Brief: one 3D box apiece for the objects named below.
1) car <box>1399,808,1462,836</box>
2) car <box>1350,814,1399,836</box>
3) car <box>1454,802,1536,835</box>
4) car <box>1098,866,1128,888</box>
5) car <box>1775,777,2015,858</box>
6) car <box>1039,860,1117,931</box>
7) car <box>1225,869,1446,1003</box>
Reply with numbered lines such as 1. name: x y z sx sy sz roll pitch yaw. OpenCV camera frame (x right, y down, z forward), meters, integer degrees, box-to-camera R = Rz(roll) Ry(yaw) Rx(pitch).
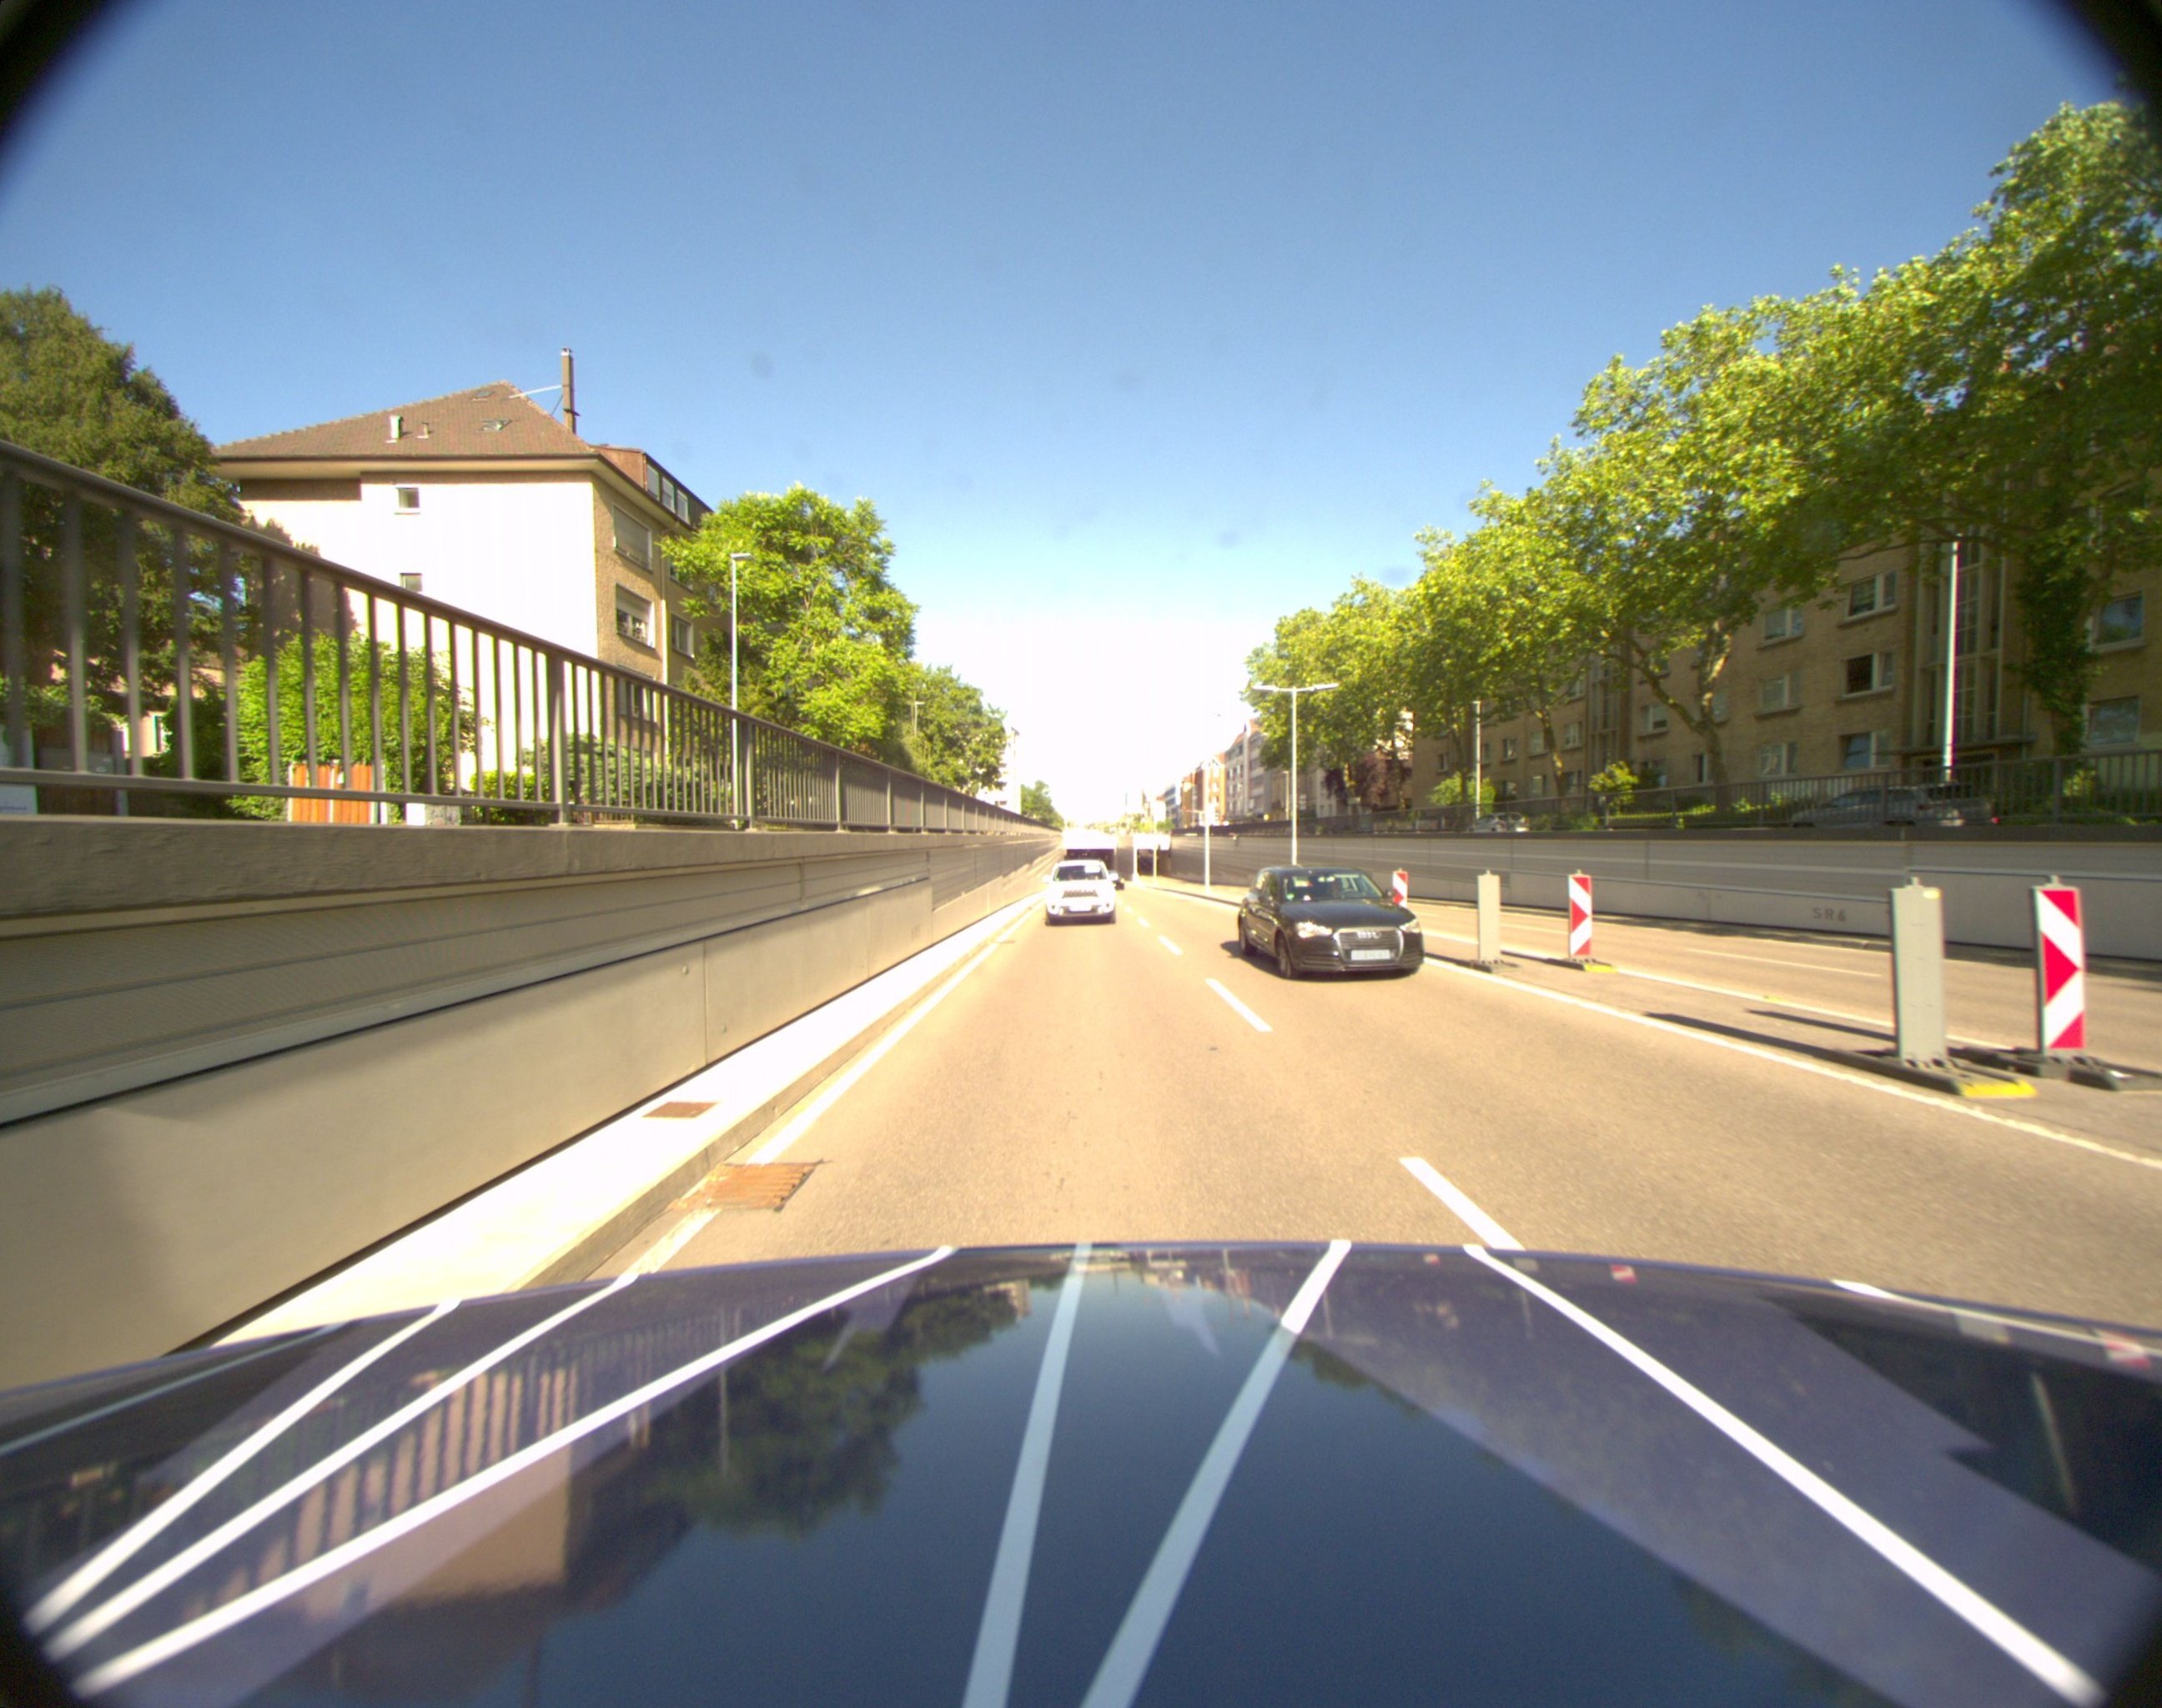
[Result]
1. car: 22.506 -2.031 49.144 1.926 1.575 4.302 -2 1 -2
2. car: 22.487 -2.192 58.308 1.926 1.575 4.302 -2 1 -2
3. car: 22.237 -1.876 41.009 1.926 1.575 4.302 -2 1 -2
4. car: 2.297 1.658 55.847 1.998 1.407 4.000 -2 0 0
5. car: 22.461 -0.957 21.286 1.970 1.949 4.413 -2 1 0
6. car: -0.068 1.048 20.883 1.855 1.658 3.970 -2 0 0
7. car: 3.261 0.968 10.578 1.700 1.410 3.888 -2 -1 -1
